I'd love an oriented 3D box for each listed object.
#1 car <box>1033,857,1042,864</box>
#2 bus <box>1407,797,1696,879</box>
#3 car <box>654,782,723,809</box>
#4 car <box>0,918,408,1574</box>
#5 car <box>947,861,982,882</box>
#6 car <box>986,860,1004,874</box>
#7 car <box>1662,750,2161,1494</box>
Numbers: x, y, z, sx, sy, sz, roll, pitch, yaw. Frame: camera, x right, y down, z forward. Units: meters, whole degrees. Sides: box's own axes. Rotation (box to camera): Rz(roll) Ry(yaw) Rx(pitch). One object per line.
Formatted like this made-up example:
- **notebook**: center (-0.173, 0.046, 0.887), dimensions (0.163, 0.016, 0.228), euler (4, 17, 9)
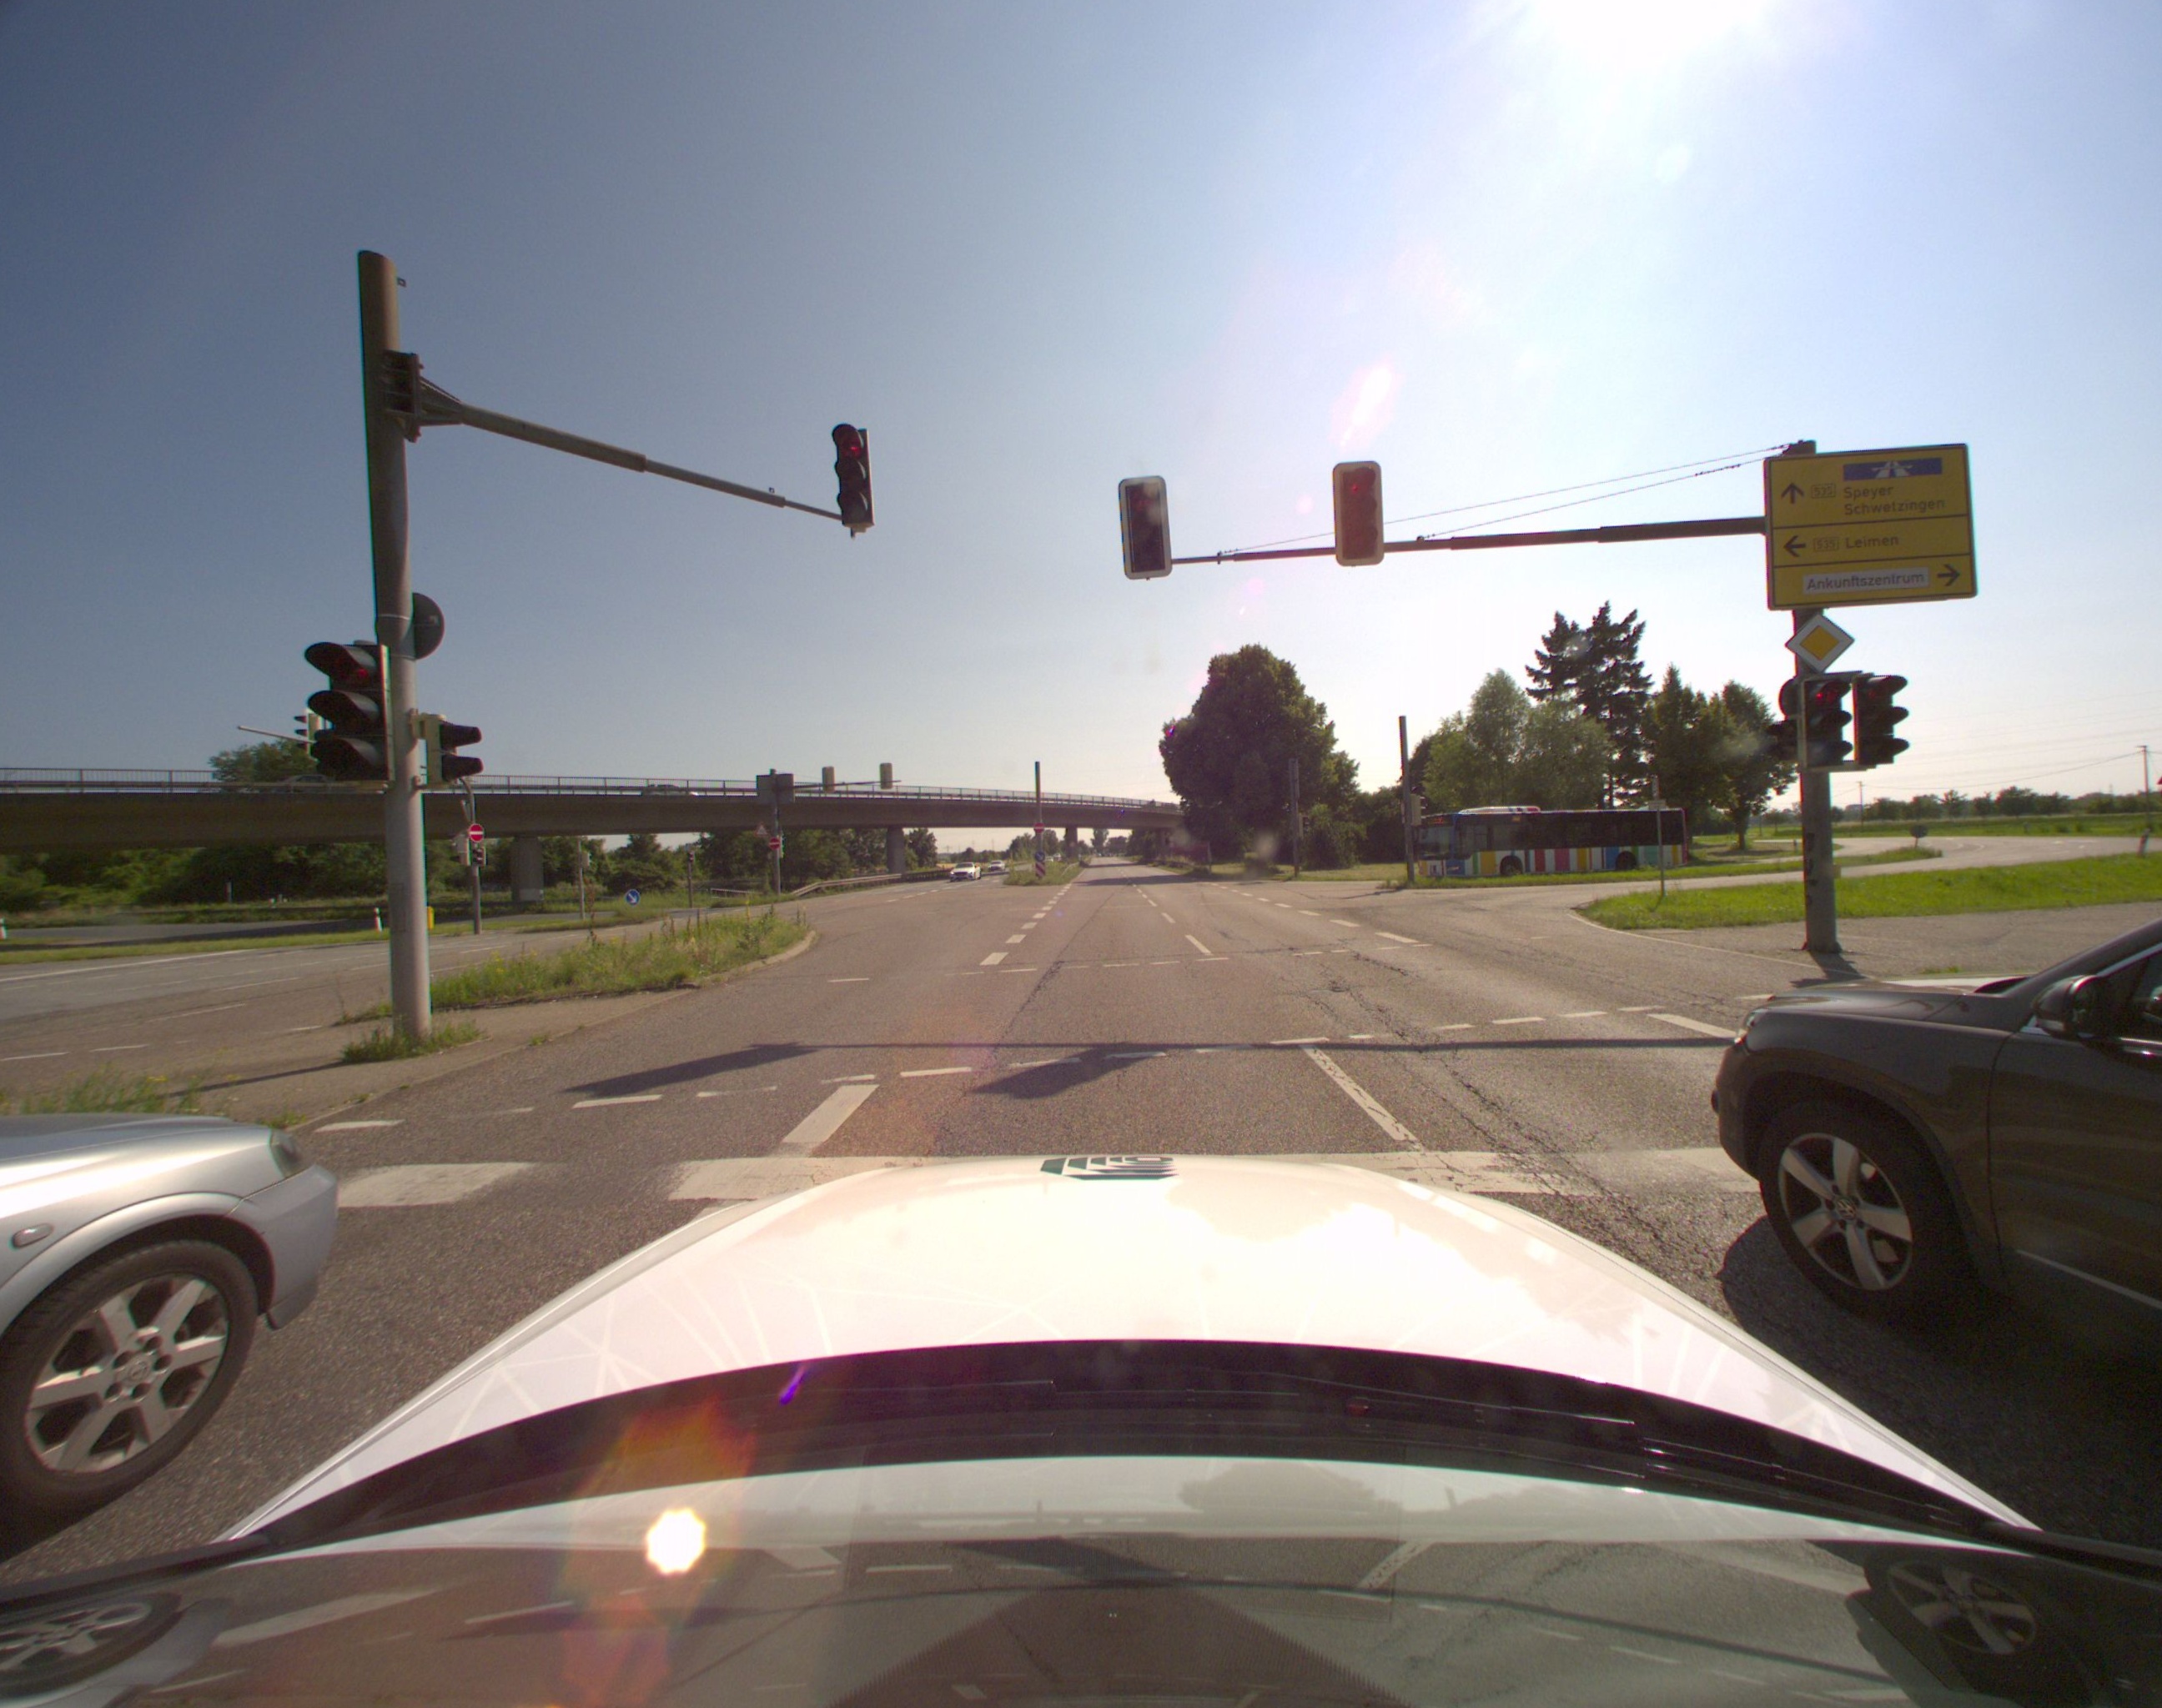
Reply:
- **car**: center (-10.482, 1.588, 197.103), dimensions (1.988, 1.558, 3.999), euler (-3, 0, -1)
- **bus**: center (20.224, -0.710, 35.010), dimensions (11.954, 2.877, 2.928), euler (-3, 0, -14)
- **car**: center (-26.324, -3.884, 54.728), dimensions (1.721, 1.469, 3.773), euler (-1, -1, 40)
- **car**: center (-3.231, 0.925, 0.740), dimensions (1.667, 1.335, 4.100), euler (-3, 0, 2)
- **car**: center (-8.961, 1.327, 62.938), dimensions (1.850, 1.448, 4.241), euler (-5, 0, 1)
- **car**: center (-11.026, 1.619, 104.623), dimensions (1.784, 1.628, 4.000), euler (-3, 0, 1)
- **car**: center (3.263, 0.586, 1.310), dimensions (1.749, 1.655, 4.147), euler (-1, 0, 1)
